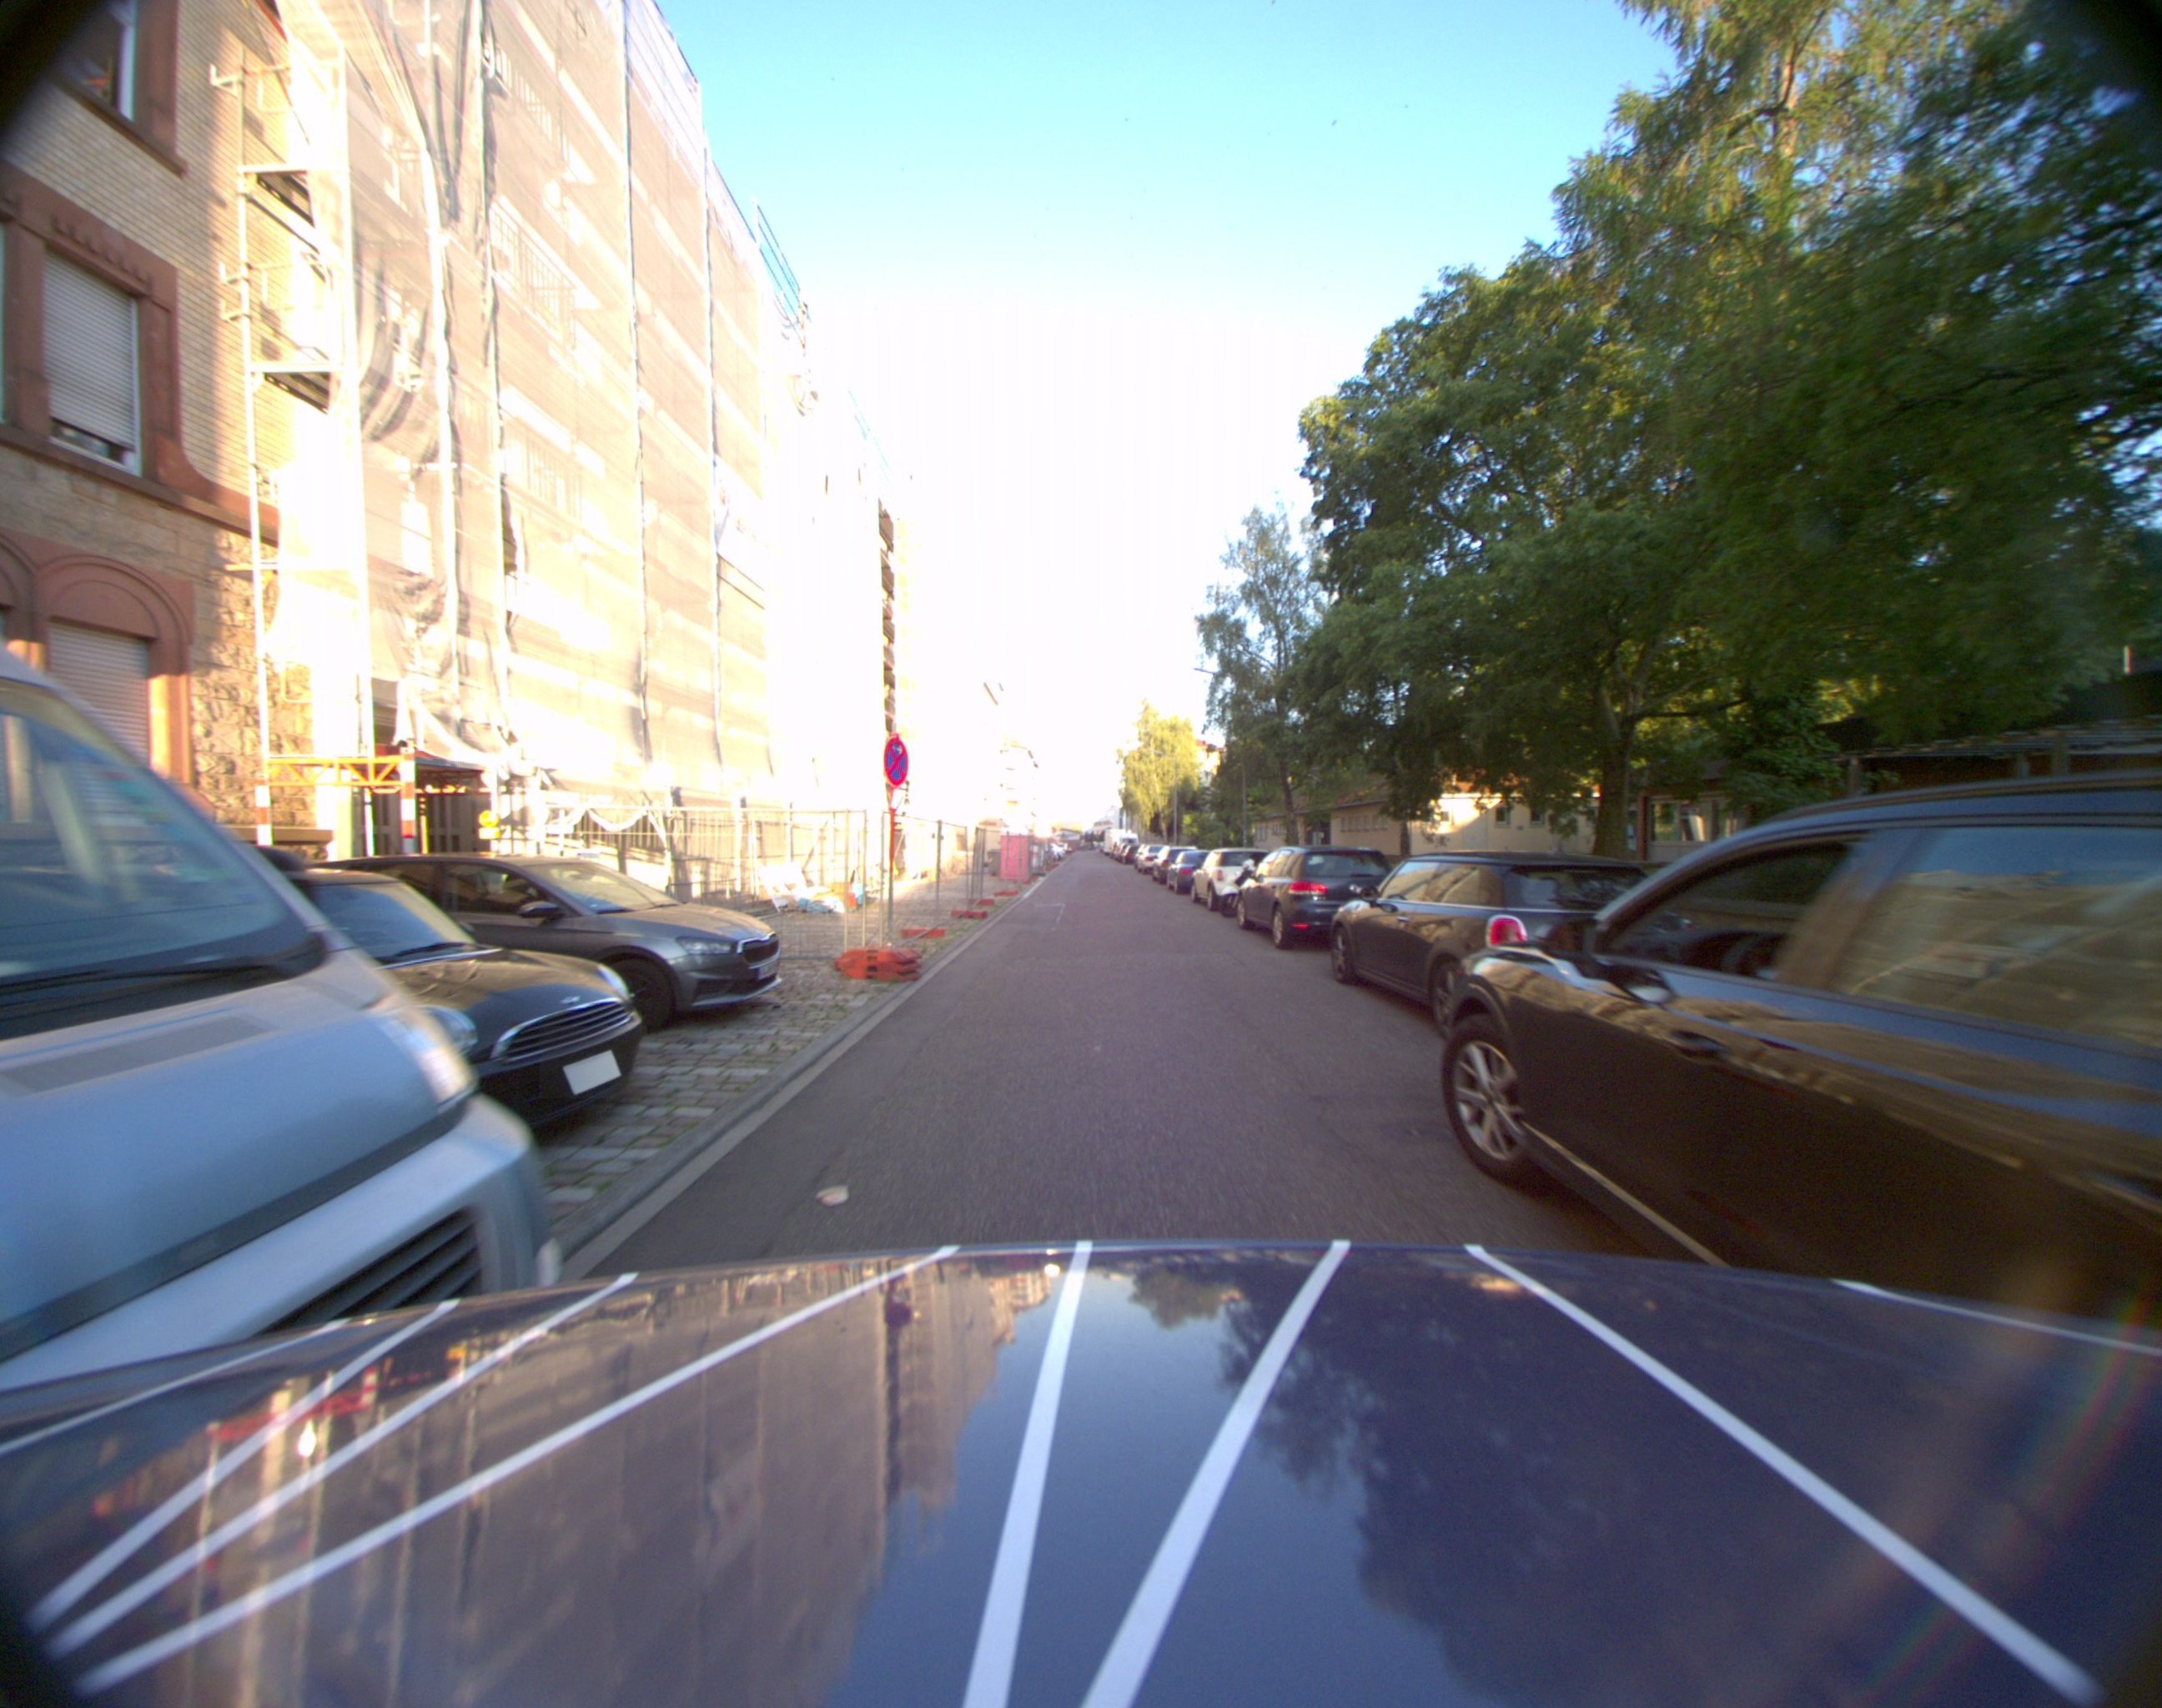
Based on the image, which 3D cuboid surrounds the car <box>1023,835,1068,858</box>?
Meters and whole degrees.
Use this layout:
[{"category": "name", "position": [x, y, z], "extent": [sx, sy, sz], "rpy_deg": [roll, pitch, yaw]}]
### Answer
[{"category": "car", "position": [-3.275, -0.720, 70.445], "extent": [3.997, 2.002, 1.999], "rpy_deg": [-2, 2, 0]}]

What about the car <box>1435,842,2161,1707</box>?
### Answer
[{"category": "car", "position": [2.325, 0.796, 1.575], "extent": [1.736, 1.622, 4.127], "rpy_deg": [1, 1, 8]}]

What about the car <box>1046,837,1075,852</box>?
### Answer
[{"category": "car", "position": [-2.852, -1.413, 107.521], "extent": [3.997, 2.002, 1.999], "rpy_deg": [-2, 2, 0]}]

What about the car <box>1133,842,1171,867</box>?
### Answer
[{"category": "car", "position": [4.027, 0.002, 43.609], "extent": [1.738, 1.359, 4.290], "rpy_deg": [0, 1, 0]}]

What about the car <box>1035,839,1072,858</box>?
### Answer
[{"category": "car", "position": [-3.006, -0.614, 83.670], "extent": [3.997, 2.002, 1.999], "rpy_deg": [-2, 2, 0]}]

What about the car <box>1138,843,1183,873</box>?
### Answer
[{"category": "car", "position": [3.832, 0.162, 37.450], "extent": [1.738, 1.359, 4.290], "rpy_deg": [0, 1, 0]}]

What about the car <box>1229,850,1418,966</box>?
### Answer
[{"category": "car", "position": [3.526, 0.695, 11.780], "extent": [1.738, 1.438, 3.804], "rpy_deg": [0, 1, 1]}]

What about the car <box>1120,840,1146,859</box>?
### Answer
[{"category": "car", "position": [4.179, -0.387, 61.483], "extent": [1.738, 1.502, 4.290], "rpy_deg": [0, 1, 0]}]

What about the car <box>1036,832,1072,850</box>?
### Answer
[{"category": "car", "position": [-3.089, -1.494, 86.853], "extent": [3.997, 2.002, 1.999], "rpy_deg": [-2, 2, 0]}]

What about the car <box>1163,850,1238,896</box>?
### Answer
[{"category": "car", "position": [3.655, 0.550, 23.911], "extent": [1.738, 1.280, 3.804], "rpy_deg": [0, 1, 0]}]

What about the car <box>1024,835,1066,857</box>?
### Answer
[{"category": "car", "position": [-3.546, -0.834, 75.212], "extent": [3.997, 2.002, 1.999], "rpy_deg": [-2, 2, 0]}]

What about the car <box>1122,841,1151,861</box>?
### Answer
[{"category": "car", "position": [4.041, -0.253, 55.674], "extent": [1.738, 1.359, 4.290], "rpy_deg": [0, 1, 0]}]

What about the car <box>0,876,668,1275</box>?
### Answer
[{"category": "car", "position": [-4.796, 0.905, 3.916], "extent": [4.414, 1.433, 1.685], "rpy_deg": [1, 3, 2]}]

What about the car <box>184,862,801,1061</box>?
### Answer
[{"category": "car", "position": [-4.809, 0.846, 6.681], "extent": [4.059, 1.433, 1.684], "rpy_deg": [0, 3, -1]}]

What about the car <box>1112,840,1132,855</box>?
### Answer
[{"category": "car", "position": [4.078, -0.685, 76.240], "extent": [1.738, 1.502, 4.290], "rpy_deg": [0, 1, 0]}]

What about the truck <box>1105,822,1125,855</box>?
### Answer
[{"category": "truck", "position": [4.188, -1.903, 94.155], "extent": [2.182, 3.861, 4.925], "rpy_deg": [-2, 2, 1]}]

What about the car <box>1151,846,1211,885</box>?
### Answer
[{"category": "car", "position": [3.748, 0.380, 29.010], "extent": [1.738, 1.359, 3.804], "rpy_deg": [0, 1, 0]}]

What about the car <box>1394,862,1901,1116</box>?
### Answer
[{"category": "car", "position": [4.091, 0.828, 6.262], "extent": [1.623, 1.417, 3.415], "rpy_deg": [0, 1, 1]}]

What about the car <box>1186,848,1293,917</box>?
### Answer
[{"category": "car", "position": [3.681, 0.602, 18.271], "extent": [1.738, 1.417, 3.804], "rpy_deg": [0, 1, 0]}]

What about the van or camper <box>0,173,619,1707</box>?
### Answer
[{"category": "van or camper", "position": [-4.292, 0.418, 1.031], "extent": [6.074, 2.490, 2.050], "rpy_deg": [1, 2, 1]}]

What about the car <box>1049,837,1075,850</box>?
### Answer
[{"category": "car", "position": [-2.954, -1.650, 118.550], "extent": [3.997, 2.002, 1.999], "rpy_deg": [-2, 2, 0]}]

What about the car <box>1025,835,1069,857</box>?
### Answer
[{"category": "car", "position": [-3.212, -0.779, 72.663], "extent": [3.997, 2.002, 1.999], "rpy_deg": [-2, 2, 0]}]

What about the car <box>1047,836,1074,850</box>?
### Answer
[{"category": "car", "position": [-3.158, -1.734, 116.121], "extent": [3.997, 2.002, 1.999], "rpy_deg": [-2, 2, 0]}]

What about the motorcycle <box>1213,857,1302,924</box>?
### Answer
[{"category": "motorcycle", "position": [3.515, 0.717, 15.235], "extent": [1.596, 1.251, 0.785], "rpy_deg": [-2, 2, 3]}]

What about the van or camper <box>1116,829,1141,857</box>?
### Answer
[{"category": "van or camper", "position": [4.157, -1.004, 67.021], "extent": [1.825, 2.401, 4.290], "rpy_deg": [0, 1, 0]}]
